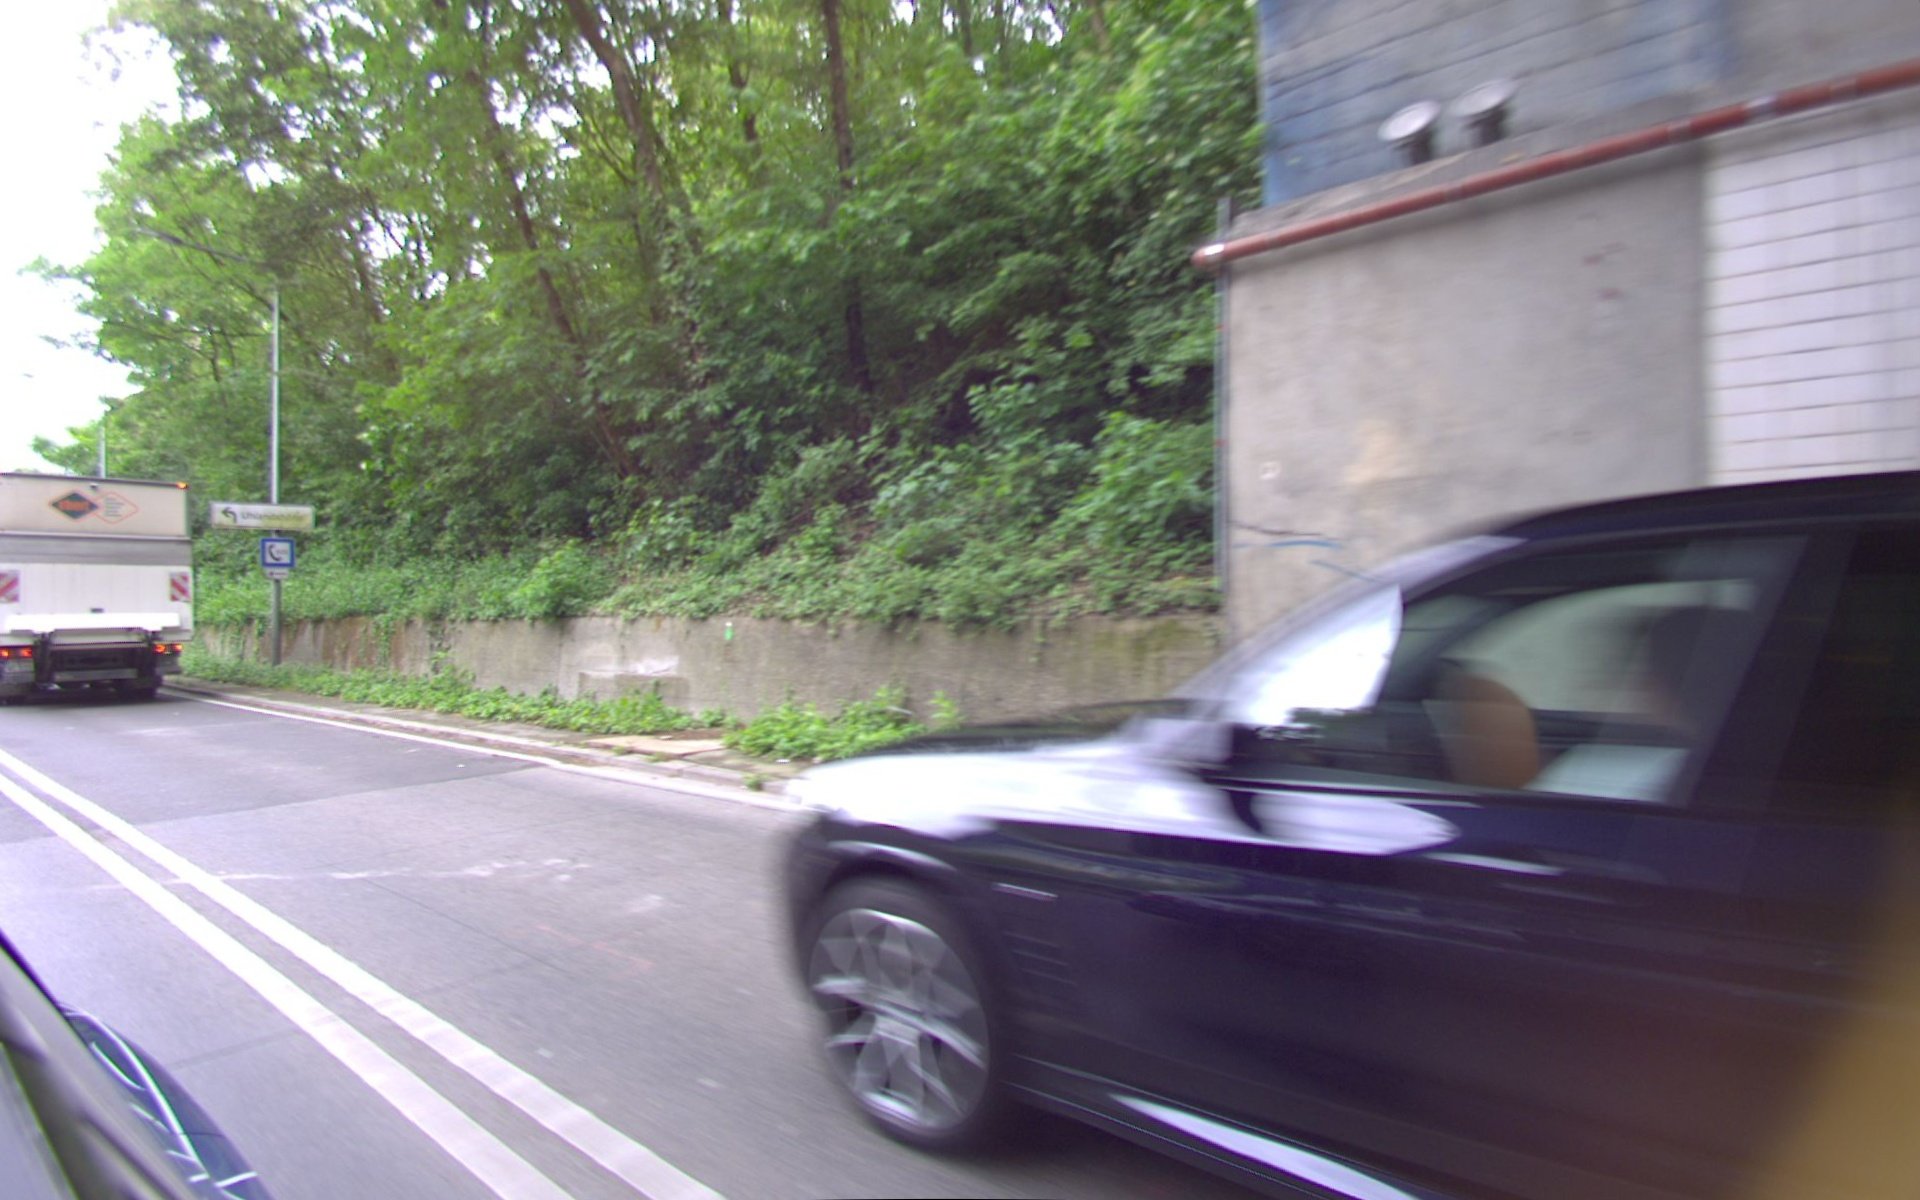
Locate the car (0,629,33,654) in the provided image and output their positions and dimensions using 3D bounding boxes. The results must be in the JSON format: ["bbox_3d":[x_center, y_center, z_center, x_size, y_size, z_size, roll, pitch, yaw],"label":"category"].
[{"bbox_3d":[-61.824,2.730,65.944,1.970,1.486,4.161,1,-4,-44],"label":"car"}]

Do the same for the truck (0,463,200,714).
[{"bbox_3d":[-16.296,-0.131,18.136,7.511,3.694,2.649,-1,-1,40],"label":"truck"}]

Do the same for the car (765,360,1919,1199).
[{"bbox_3d":[1.689,0.543,2.170,4.375,1.688,1.859,0,-1,41],"label":"car"}]

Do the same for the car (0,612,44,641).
[{"bbox_3d":[-51.603,1.486,55.425,1.970,1.411,4.521,1,-4,-44],"label":"car"}]
